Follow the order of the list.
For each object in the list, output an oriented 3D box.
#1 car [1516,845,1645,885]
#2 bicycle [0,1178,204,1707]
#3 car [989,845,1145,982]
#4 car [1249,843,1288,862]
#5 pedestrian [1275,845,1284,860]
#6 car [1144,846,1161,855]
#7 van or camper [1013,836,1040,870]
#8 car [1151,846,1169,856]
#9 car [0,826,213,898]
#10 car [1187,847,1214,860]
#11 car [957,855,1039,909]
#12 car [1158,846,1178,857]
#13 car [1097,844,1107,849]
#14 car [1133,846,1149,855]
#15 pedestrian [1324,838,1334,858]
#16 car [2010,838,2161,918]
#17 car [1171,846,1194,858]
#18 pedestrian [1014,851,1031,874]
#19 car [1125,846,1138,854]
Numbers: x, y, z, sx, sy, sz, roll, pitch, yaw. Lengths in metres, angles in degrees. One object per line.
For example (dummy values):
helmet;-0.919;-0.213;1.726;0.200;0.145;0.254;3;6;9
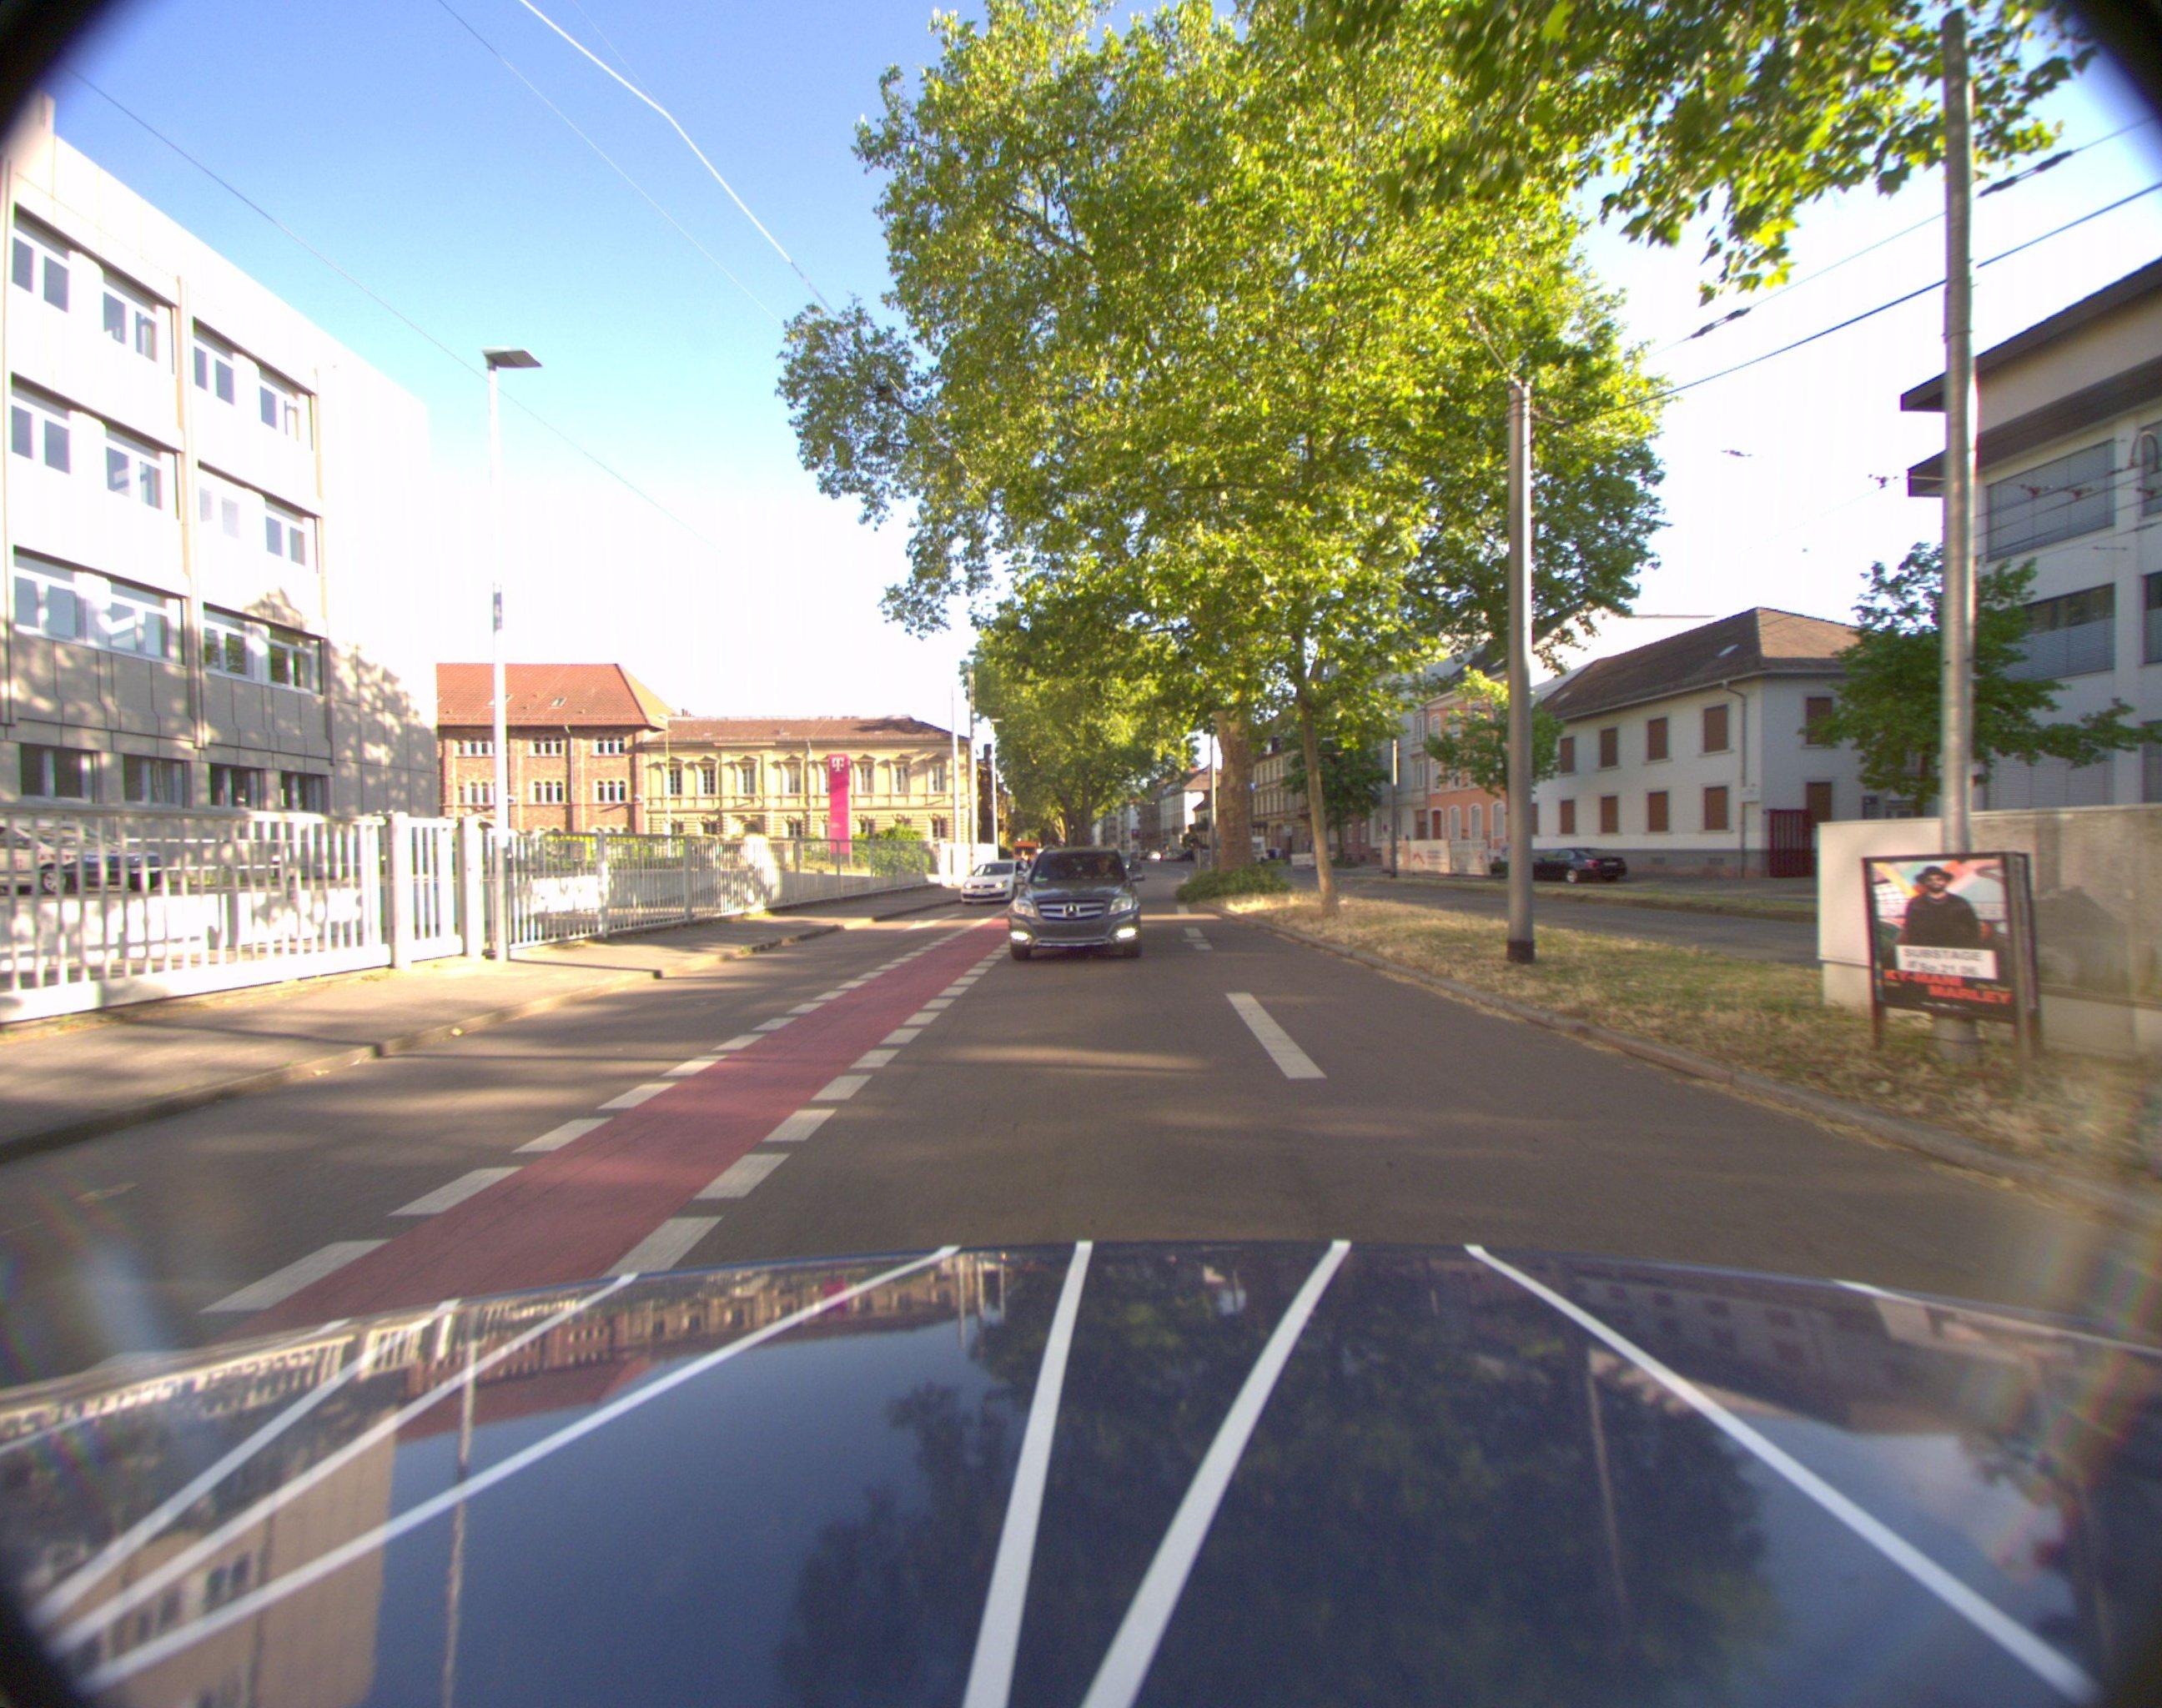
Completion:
car;21.074;0.403;32.315;2.088;1.462;4.576;-4;1;-6
bicycle;-2.055;1.178;0.256;0.764;1.138;2.307;-1;1;2
car;-0.001;0.743;12.044;1.907;1.635;4.517;-3;1;5
car;18.059;-0.130;73.417;2.088;1.664;4.530;-4;1;-6
pedestrian;20.910;-0.153;79.998;0.641;1.519;0.615;-1;1;-11
car;12.672;-0.666;134.114;2.088;1.531;4.253;-4;1;-6
van or camper;-4.416;-0.101;62.381;1.999;2.578;5.623;-2;1;-3
car;12.841;-0.518;124.201;2.088;1.531;4.095;-4;1;-6
car;-23.851;0.175;17.739;4.575;1.572;1.999;-1;1;-4
car;15.107;-0.051;96.287;2.088;1.531;4.513;-4;1;-6
car;-2.750;0.892;26.098;1.792;1.494;4.302;-3;1;7
car;13.541;-0.440;118.269;2.088;1.531;4.036;-4;1;-6
car;6.153;-2.223;222.171;2.088;1.531;4.124;-4;1;-6
car;11.392;-0.634;144.356;2.088;1.531;4.006;-4;1;-6
pedestrian;22.031;-0.520;67.482;0.561;1.798;0.705;-1;1;-3
car;22.578;0.474;15.560;2.088;1.481;3.994;-4;1;-6
car;14.548;-0.272;109.373;2.088;1.531;5.101;-4;1;-6
pedestrian;-3.648;0.528;47.493;0.898;1.464;0.810;-1;1;5
car;10.557;-0.762;159.680;2.088;1.531;4.117;-4;1;-6
